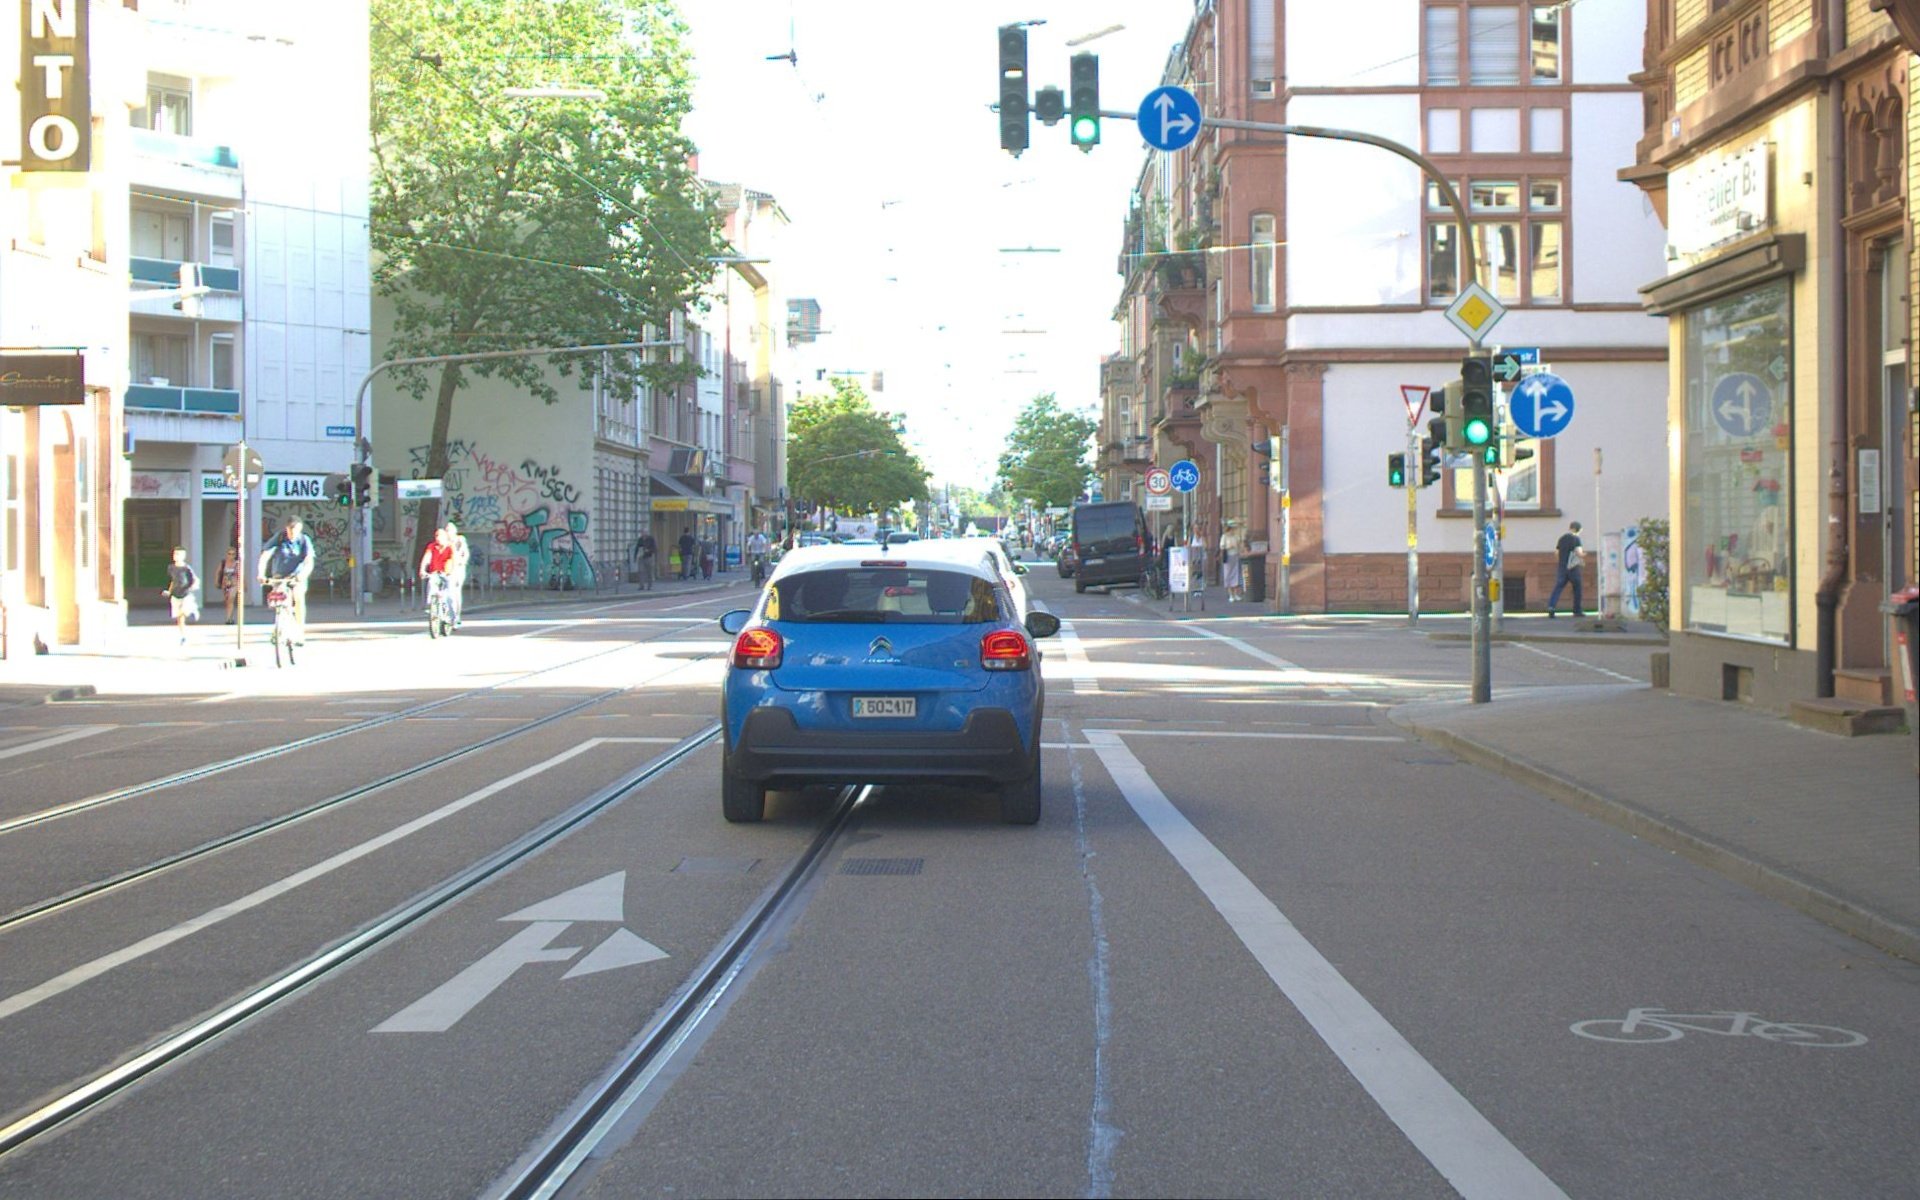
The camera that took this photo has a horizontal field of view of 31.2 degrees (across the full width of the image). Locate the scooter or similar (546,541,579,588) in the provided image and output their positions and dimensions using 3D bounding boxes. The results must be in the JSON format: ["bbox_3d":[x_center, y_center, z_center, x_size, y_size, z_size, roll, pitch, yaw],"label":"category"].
[{"bbox_3d":[-11.463,-1.032,99.154,0.788,1.267,1.075,2,3,0],"label":"scooter or similar"}]

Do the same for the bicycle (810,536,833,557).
[{"bbox_3d":[-7.701,-2.961,191.126,1.120,1.142,3.645,-1,1,-5],"label":"bicycle"}]

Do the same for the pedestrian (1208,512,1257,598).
[{"bbox_3d":[5.930,-0.981,74.774,0.705,1.776,0.673,-10,1,0],"label":"pedestrian"}]

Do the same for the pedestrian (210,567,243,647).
[{"bbox_3d":[-14.336,0.128,67.201,0.542,1.547,0.516,0,1,-1],"label":"pedestrian"}]

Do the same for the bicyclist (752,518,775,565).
[{"bbox_3d":[-6.239,-1.864,109.030,0.682,1.478,0.778,0,1,0],"label":"bicyclist"}]

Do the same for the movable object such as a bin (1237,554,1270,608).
[{"bbox_3d":[6.221,-0.401,72.989,0.666,1.149,0.594,0,1,2],"label":"movable object such as a bin"}]

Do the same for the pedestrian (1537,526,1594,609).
[{"bbox_3d":[10.709,-0.574,60.798,0.938,1.452,0.822,0,1,15],"label":"pedestrian"}]

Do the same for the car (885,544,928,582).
[{"bbox_3d":[-2.493,-1.736,160.600,1.993,1.738,4.563,0,1,-1],"label":"car"}]

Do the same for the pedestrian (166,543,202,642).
[{"bbox_3d":[-11.027,-0.109,48.864,0.404,1.405,0.516,0,1,-1],"label":"pedestrian"}]

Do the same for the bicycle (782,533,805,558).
[{"bbox_3d":[-9.230,-3.027,190.916,1.120,1.315,3.645,-1,1,-5],"label":"bicycle"}]

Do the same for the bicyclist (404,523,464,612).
[{"bbox_3d":[-8.273,-0.521,54.093,0.735,1.376,1.469,0,1,-1],"label":"bicyclist"}]

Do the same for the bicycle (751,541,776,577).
[{"bbox_3d":[-6.230,-1.299,109.143,0.692,1.116,2.084,0,1,0],"label":"bicycle"}]

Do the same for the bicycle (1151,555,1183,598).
[{"bbox_3d":[4.742,-0.544,78.690,0.431,0.944,1.764,0,1,-7],"label":"bicycle"}]

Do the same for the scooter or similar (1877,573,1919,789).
[{"bbox_3d":[5.586,0.407,18.822,0.897,1.144,0.547,-5,1,-1],"label":"scooter or similar"}]

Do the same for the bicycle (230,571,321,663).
[{"bbox_3d":[-8.414,0.194,42.342,0.730,1.084,2.062,0,1,-1],"label":"bicycle"}]

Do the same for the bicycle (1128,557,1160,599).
[{"bbox_3d":[4.208,-0.510,78.641,0.431,0.944,1.764,0,1,-7],"label":"bicycle"}]

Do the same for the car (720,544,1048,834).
[{"bbox_3d":[-0.429,0.424,19.571,1.674,1.472,4.000,0,1,-1],"label":"car"}]

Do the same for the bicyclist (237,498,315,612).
[{"bbox_3d":[-8.427,-0.560,42.381,0.724,1.376,1.228,0,1,-1],"label":"bicyclist"}]

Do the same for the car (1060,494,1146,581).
[{"bbox_3d":[4.076,-1.814,98.986,2.271,2.428,5.720,0,1,0],"label":"car"}]

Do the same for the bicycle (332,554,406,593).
[{"bbox_3d":[-15.753,-0.703,91.617,1.919,1.031,0.664,1,1,27],"label":"bicycle"}]

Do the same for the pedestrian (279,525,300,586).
[{"bbox_3d":[-19.074,-1.262,97.819,0.456,1.712,0.547,-1,1,0],"label":"pedestrian"}]

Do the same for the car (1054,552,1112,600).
[{"bbox_3d":[4.511,-0.892,126.522,2.005,1.666,4.806,-1,1,1],"label":"car"}]

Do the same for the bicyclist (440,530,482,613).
[{"bbox_3d":[-8.281,-0.473,57.053,0.590,1.371,0.679,0,1,-1],"label":"bicyclist"}]

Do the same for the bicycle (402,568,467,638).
[{"bbox_3d":[-8.258,0.040,54.102,0.730,1.062,2.062,0,1,-1],"label":"bicycle"}]

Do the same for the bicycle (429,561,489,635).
[{"bbox_3d":[-8.334,-0.040,57.242,0.730,1.179,2.062,0,1,-1],"label":"bicycle"}]

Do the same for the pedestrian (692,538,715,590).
[{"bbox_3d":[-8.819,-1.245,118.243,0.710,1.758,0.570,-1,1,0],"label":"pedestrian"}]

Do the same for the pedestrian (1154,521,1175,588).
[{"bbox_3d":[6.226,-1.385,104.524,0.585,2.007,0.823,0,1,-1],"label":"pedestrian"}]

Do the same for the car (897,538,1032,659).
[{"bbox_3d":[0.045,-0.049,44.869,1.667,1.473,4.000,-1,1,0],"label":"car"}]

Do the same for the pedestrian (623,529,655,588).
[{"bbox_3d":[-9.543,-1.242,102.158,0.682,1.759,1.025,0,1,11],"label":"pedestrian"}]

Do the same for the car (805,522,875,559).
[{"bbox_3d":[-8.357,-4.140,239.585,4.307,2.572,2.210,0,1,-25],"label":"car"}]

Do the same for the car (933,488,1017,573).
[{"bbox_3d":[0.337,-1.710,84.358,1.993,2.007,4.000,-1,1,0],"label":"car"}]

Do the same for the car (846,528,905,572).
[{"bbox_3d":[-2.980,-1.786,121.389,1.985,1.497,4.309,0,1,0],"label":"car"}]
